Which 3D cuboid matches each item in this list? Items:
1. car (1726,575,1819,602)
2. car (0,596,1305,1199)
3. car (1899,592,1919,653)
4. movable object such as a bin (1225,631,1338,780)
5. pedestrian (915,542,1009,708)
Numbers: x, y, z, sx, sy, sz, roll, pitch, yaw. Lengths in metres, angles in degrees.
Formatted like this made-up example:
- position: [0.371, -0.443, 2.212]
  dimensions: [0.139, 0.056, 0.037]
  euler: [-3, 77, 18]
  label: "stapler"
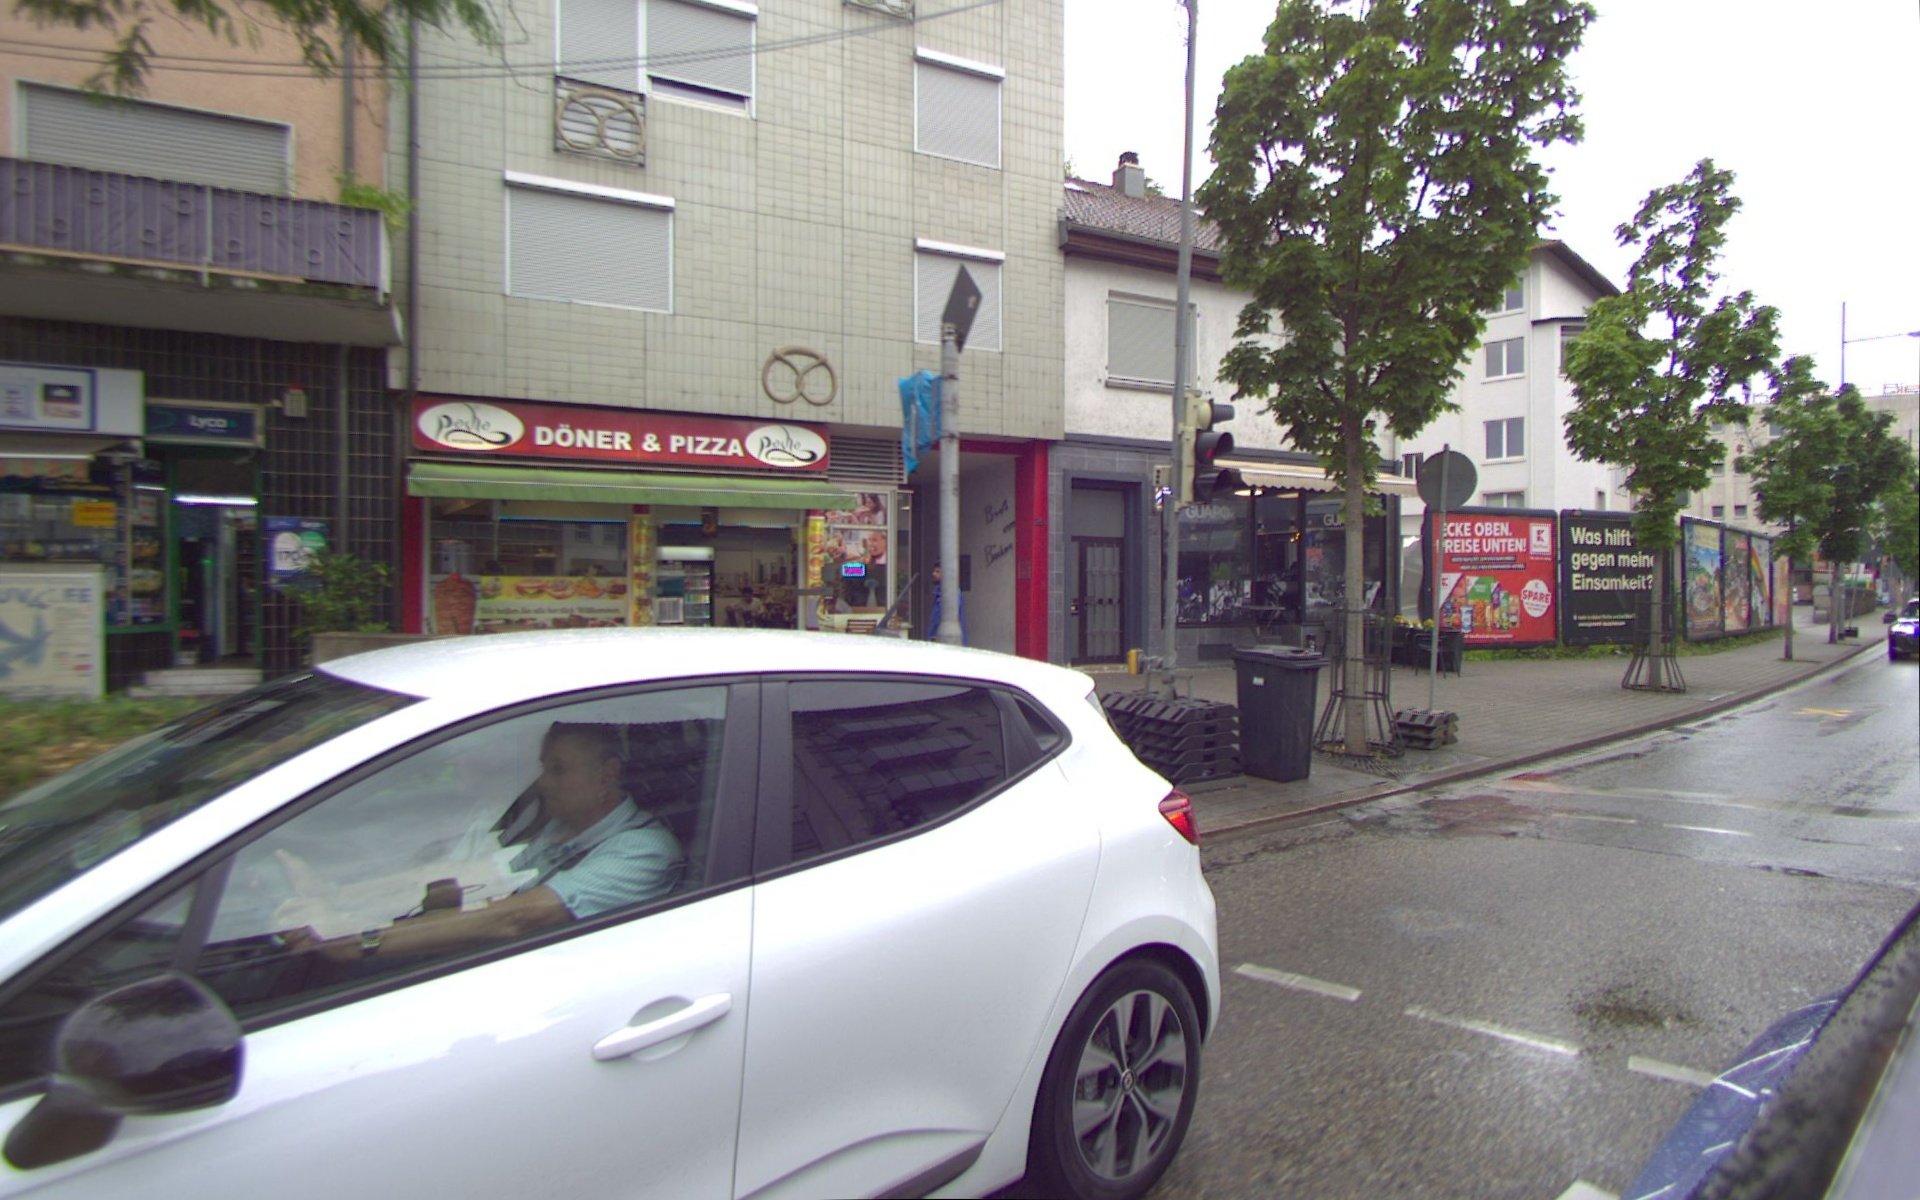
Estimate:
- position: [52.306, -0.713, 65.228]
  dimensions: [4.178, 1.596, 1.939]
  euler: [1, -1, 11]
  label: "car"
- position: [-1.124, 0.749, 2.230]
  dimensions: [3.927, 1.420, 1.681]
  euler: [-1, 3, -38]
  label: "car"
- position: [23.574, 0.485, 23.993]
  dimensions: [1.807, 1.356, 4.210]
  euler: [-2, 0, 44]
  label: "car"
- position: [2.659, 0.842, 8.372]
  dimensions: [0.653, 1.125, 0.580]
  euler: [2, 1, -37]
  label: "movable object such as a bin"
- position: [0.003, 0.252, 11.670]
  dimensions: [0.887, 1.813, 0.973]
  euler: [0, 3, -12]
  label: "pedestrian"
